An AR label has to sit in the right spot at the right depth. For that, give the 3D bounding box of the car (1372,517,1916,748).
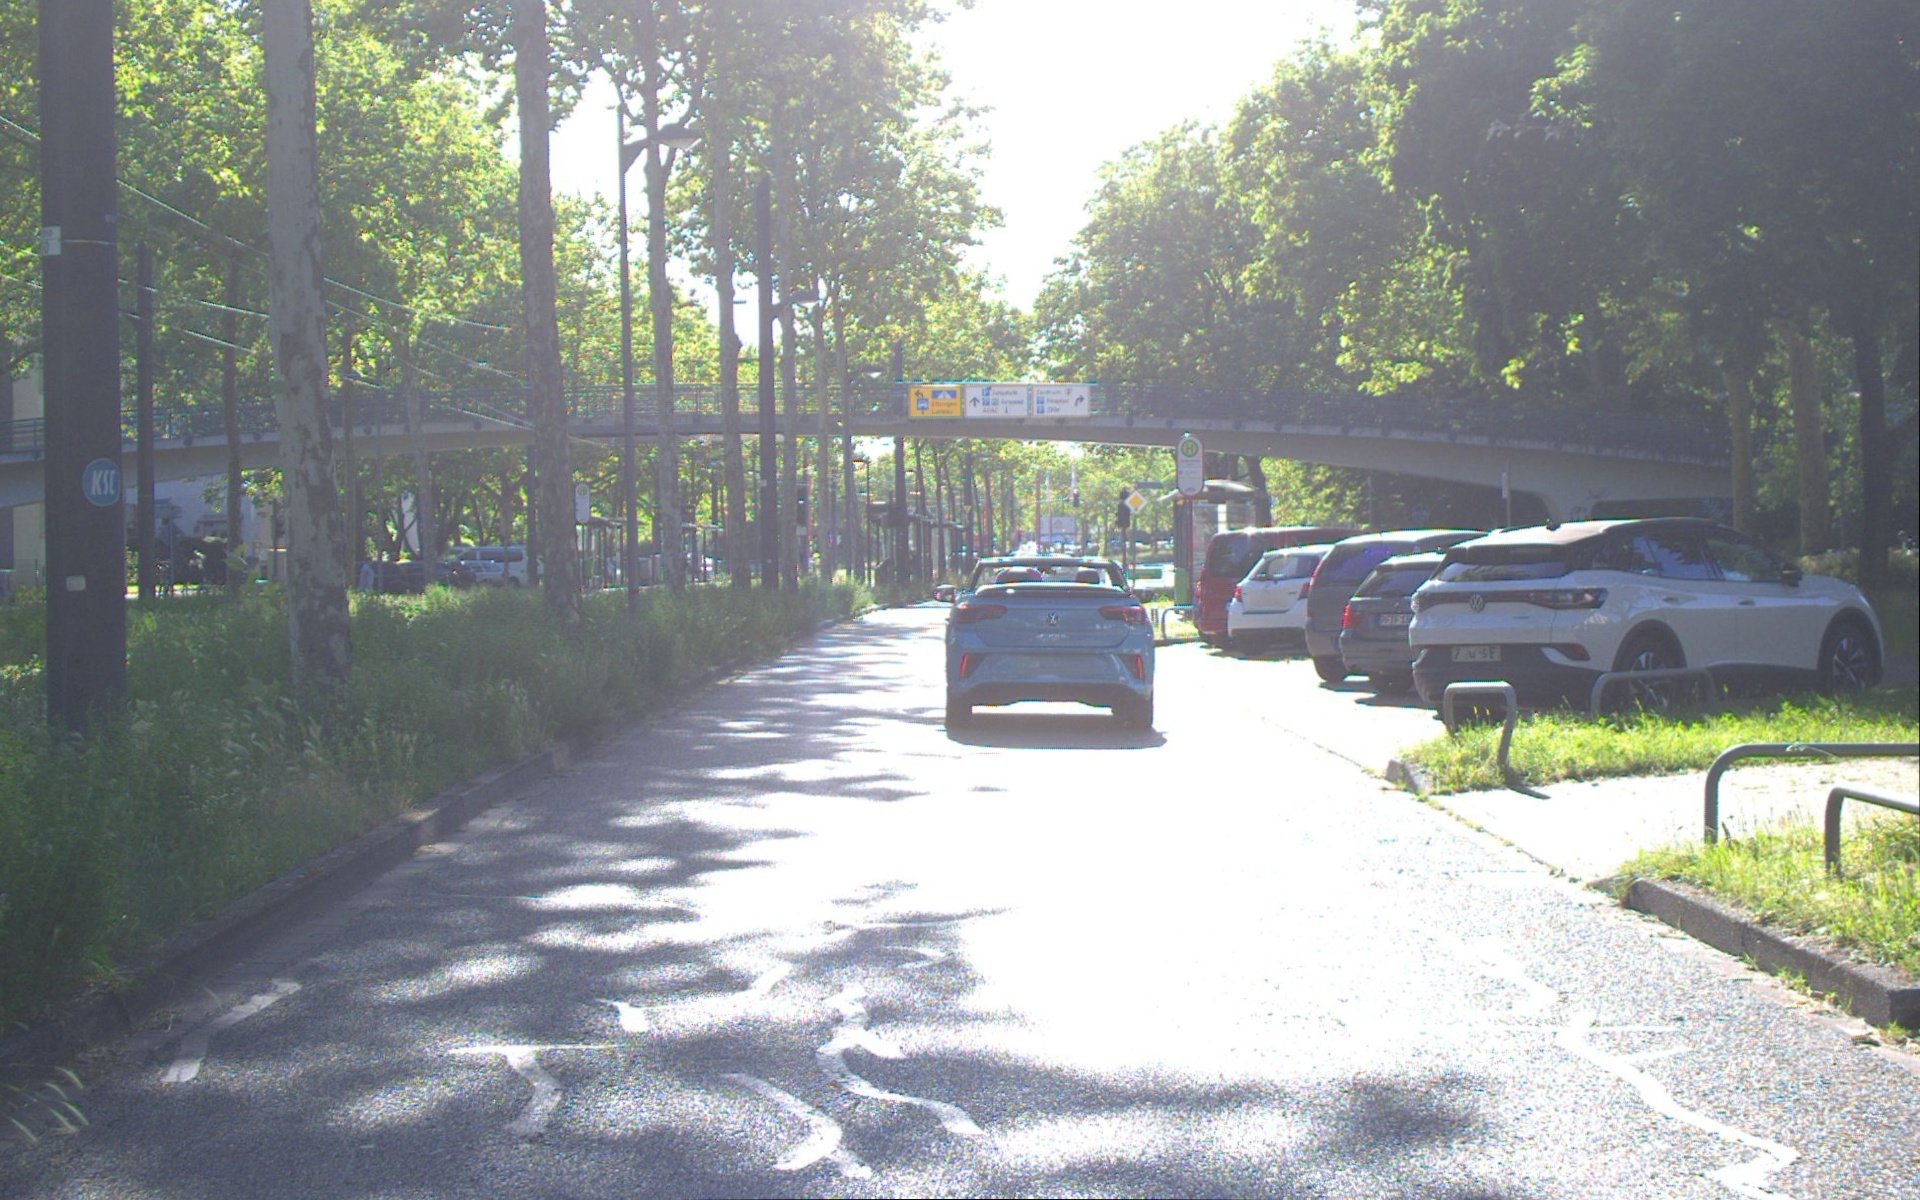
[{"bbox_3d":[5.486,0.207,27.215,4.611,1.674,1.856,0,1,-43],"label":"car"}]

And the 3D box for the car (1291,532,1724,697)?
[{"bbox_3d":[5.593,0.101,34.749,4.612,1.516,1.856,-2,1,-43],"label":"car"}]

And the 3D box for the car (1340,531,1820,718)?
[{"bbox_3d":[5.684,0.180,31.184,4.611,1.564,1.856,0,2,-43],"label":"car"}]

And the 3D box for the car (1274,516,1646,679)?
[{"bbox_3d":[5.680,-0.057,38.633,1.855,1.674,4.599,-2,0,42],"label":"car"}]

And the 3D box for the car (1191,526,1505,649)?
[{"bbox_3d":[5.558,-0.197,48.895,4.611,1.674,1.856,0,1,-43],"label":"car"}]

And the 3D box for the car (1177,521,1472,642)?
[{"bbox_3d":[5.568,-0.300,52.170,4.611,1.762,1.856,0,1,-43],"label":"car"}]

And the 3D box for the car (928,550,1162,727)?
[{"bbox_3d":[0.717,0.289,30.421,1.922,1.406,4.000,0,2,0],"label":"car"}]

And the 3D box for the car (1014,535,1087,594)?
[{"bbox_3d":[2.577,-1.036,98.777,1.993,1.645,4.000,1,1,0],"label":"car"}]
